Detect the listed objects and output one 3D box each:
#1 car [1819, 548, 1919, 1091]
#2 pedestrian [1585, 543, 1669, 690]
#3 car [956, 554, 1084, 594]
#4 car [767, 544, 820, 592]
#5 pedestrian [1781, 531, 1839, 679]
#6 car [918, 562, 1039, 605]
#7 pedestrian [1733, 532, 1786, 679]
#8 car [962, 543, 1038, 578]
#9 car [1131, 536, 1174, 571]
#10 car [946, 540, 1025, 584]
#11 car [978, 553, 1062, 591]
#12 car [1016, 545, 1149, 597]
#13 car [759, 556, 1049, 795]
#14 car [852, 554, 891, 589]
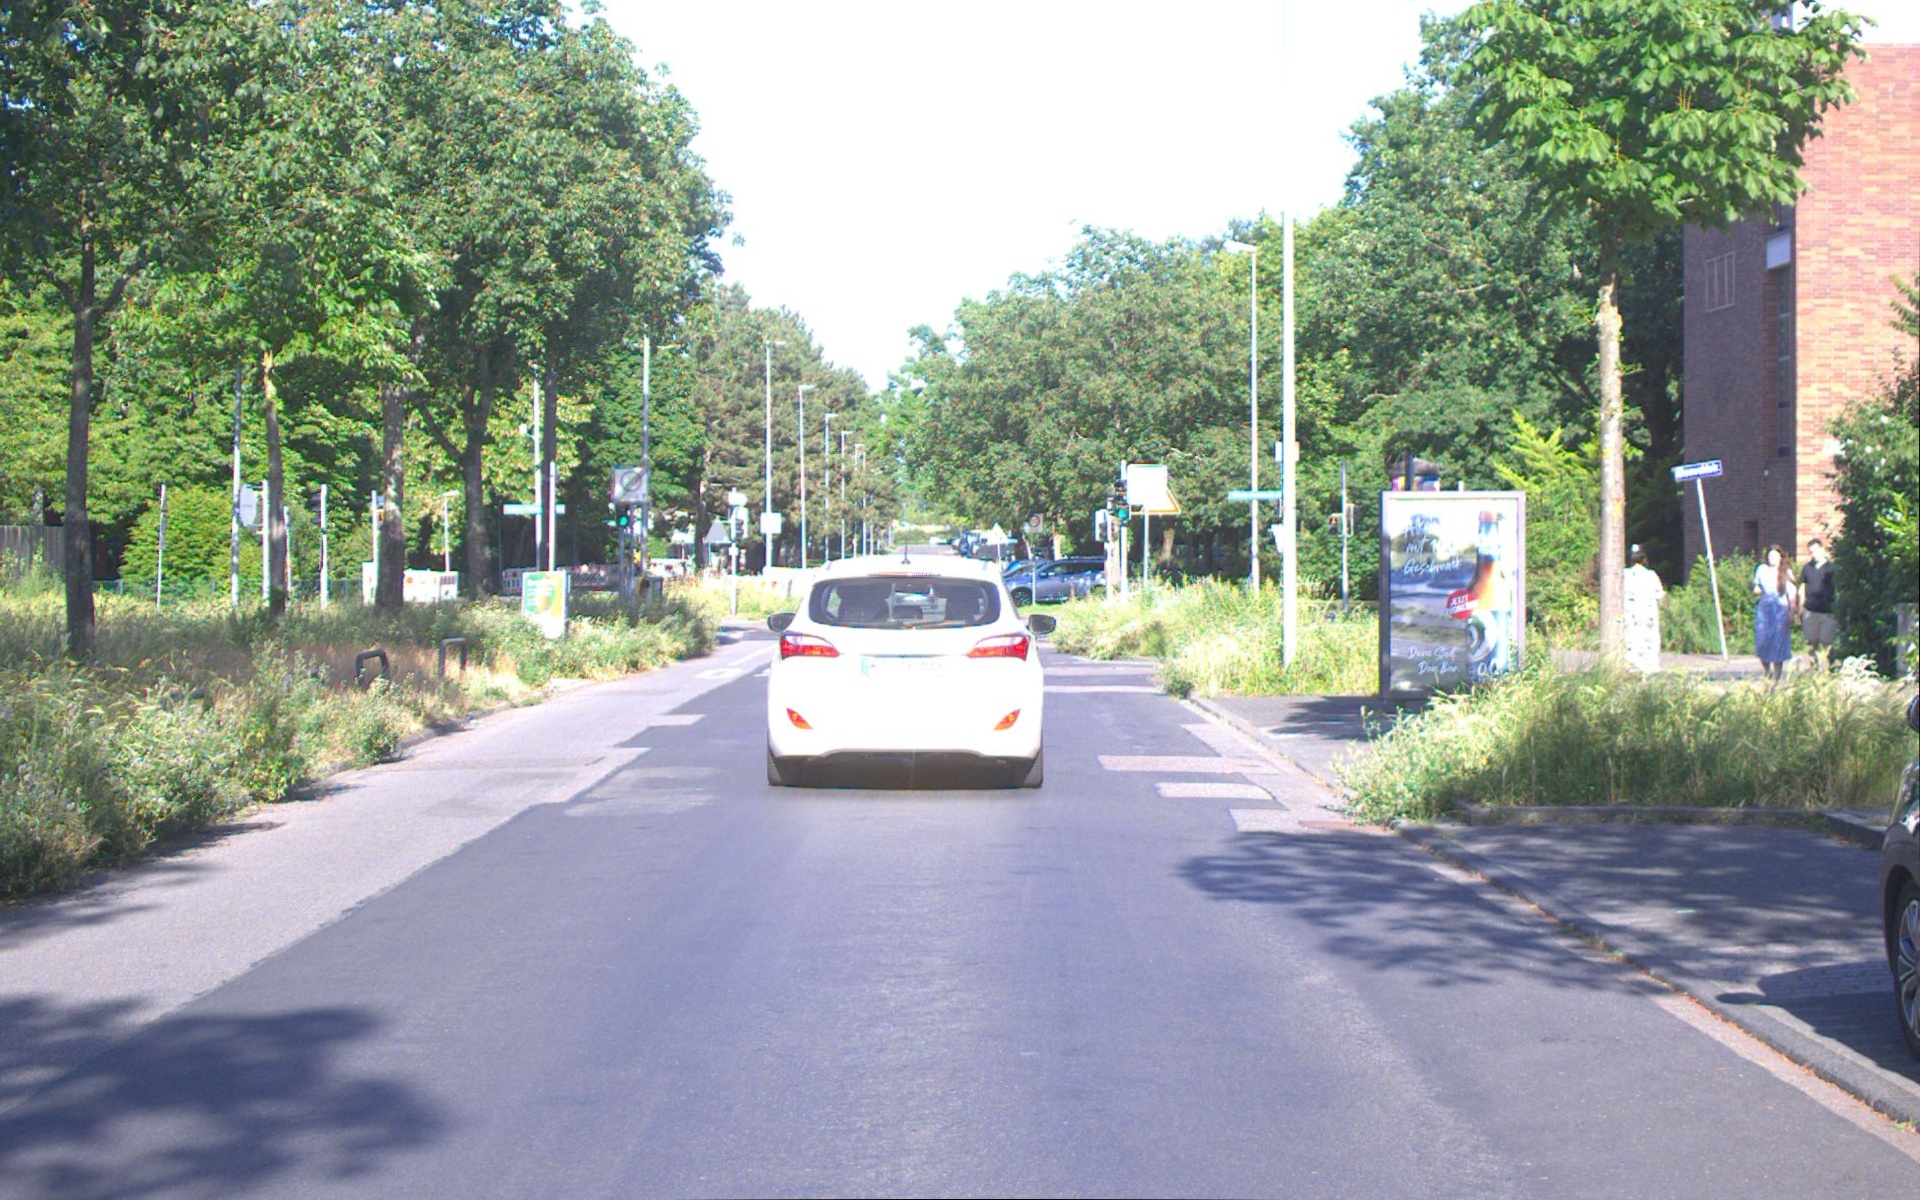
[{"bbox_3d":[3.514,0.628,9.142,1.493,1.568,3.601,-2,1,0],"label":"car"},{"bbox_3d":[8.364,0.204,43.091,0.900,1.815,0.735,1,0,20],"label":"pedestrian"},{"bbox_3d":[2.646,-1.155,153.162,5.614,1.678,1.948,1,0,0],"label":"car"},{"bbox_3d":[-6.847,-1.335,141.737,1.993,1.809,4.000,1,2,0],"label":"car"},{"bbox_3d":[10.065,0.054,40.705,0.606,1.726,0.639,1,0,16],"label":"pedestrian"},{"bbox_3d":[0.717,-0.630,129.499,4.499,1.624,1.855,0,1,2],"label":"car"},{"bbox_3d":[9.506,0.065,40.869,0.554,1.726,0.661,1,0,16],"label":"pedestrian"},{"bbox_3d":[2.284,-2.244,197.001,4.301,1.901,1.863,1,0,0],"label":"car"},{"bbox_3d":[10.152,-2.447,181.754,1.993,1.809,4.000,1,0,0],"label":"car"},{"bbox_3d":[1.243,-1.867,169.683,3.819,2.091,1.863,1,0,0],"label":"car"},{"bbox_3d":[2.771,-1.285,159.646,3.819,1.678,1.863,1,0,0],"label":"car"},{"bbox_3d":[4.196,-0.988,117.494,4.499,1.777,1.855,0,1,2],"label":"car"},{"bbox_3d":[-0.361,0.443,23.273,1.789,1.458,3.963,0,1,0],"label":"car"},{"bbox_3d":[-4.878,-1.582,190.069,1.993,1.809,4.000,1,1,0],"label":"car"}]
